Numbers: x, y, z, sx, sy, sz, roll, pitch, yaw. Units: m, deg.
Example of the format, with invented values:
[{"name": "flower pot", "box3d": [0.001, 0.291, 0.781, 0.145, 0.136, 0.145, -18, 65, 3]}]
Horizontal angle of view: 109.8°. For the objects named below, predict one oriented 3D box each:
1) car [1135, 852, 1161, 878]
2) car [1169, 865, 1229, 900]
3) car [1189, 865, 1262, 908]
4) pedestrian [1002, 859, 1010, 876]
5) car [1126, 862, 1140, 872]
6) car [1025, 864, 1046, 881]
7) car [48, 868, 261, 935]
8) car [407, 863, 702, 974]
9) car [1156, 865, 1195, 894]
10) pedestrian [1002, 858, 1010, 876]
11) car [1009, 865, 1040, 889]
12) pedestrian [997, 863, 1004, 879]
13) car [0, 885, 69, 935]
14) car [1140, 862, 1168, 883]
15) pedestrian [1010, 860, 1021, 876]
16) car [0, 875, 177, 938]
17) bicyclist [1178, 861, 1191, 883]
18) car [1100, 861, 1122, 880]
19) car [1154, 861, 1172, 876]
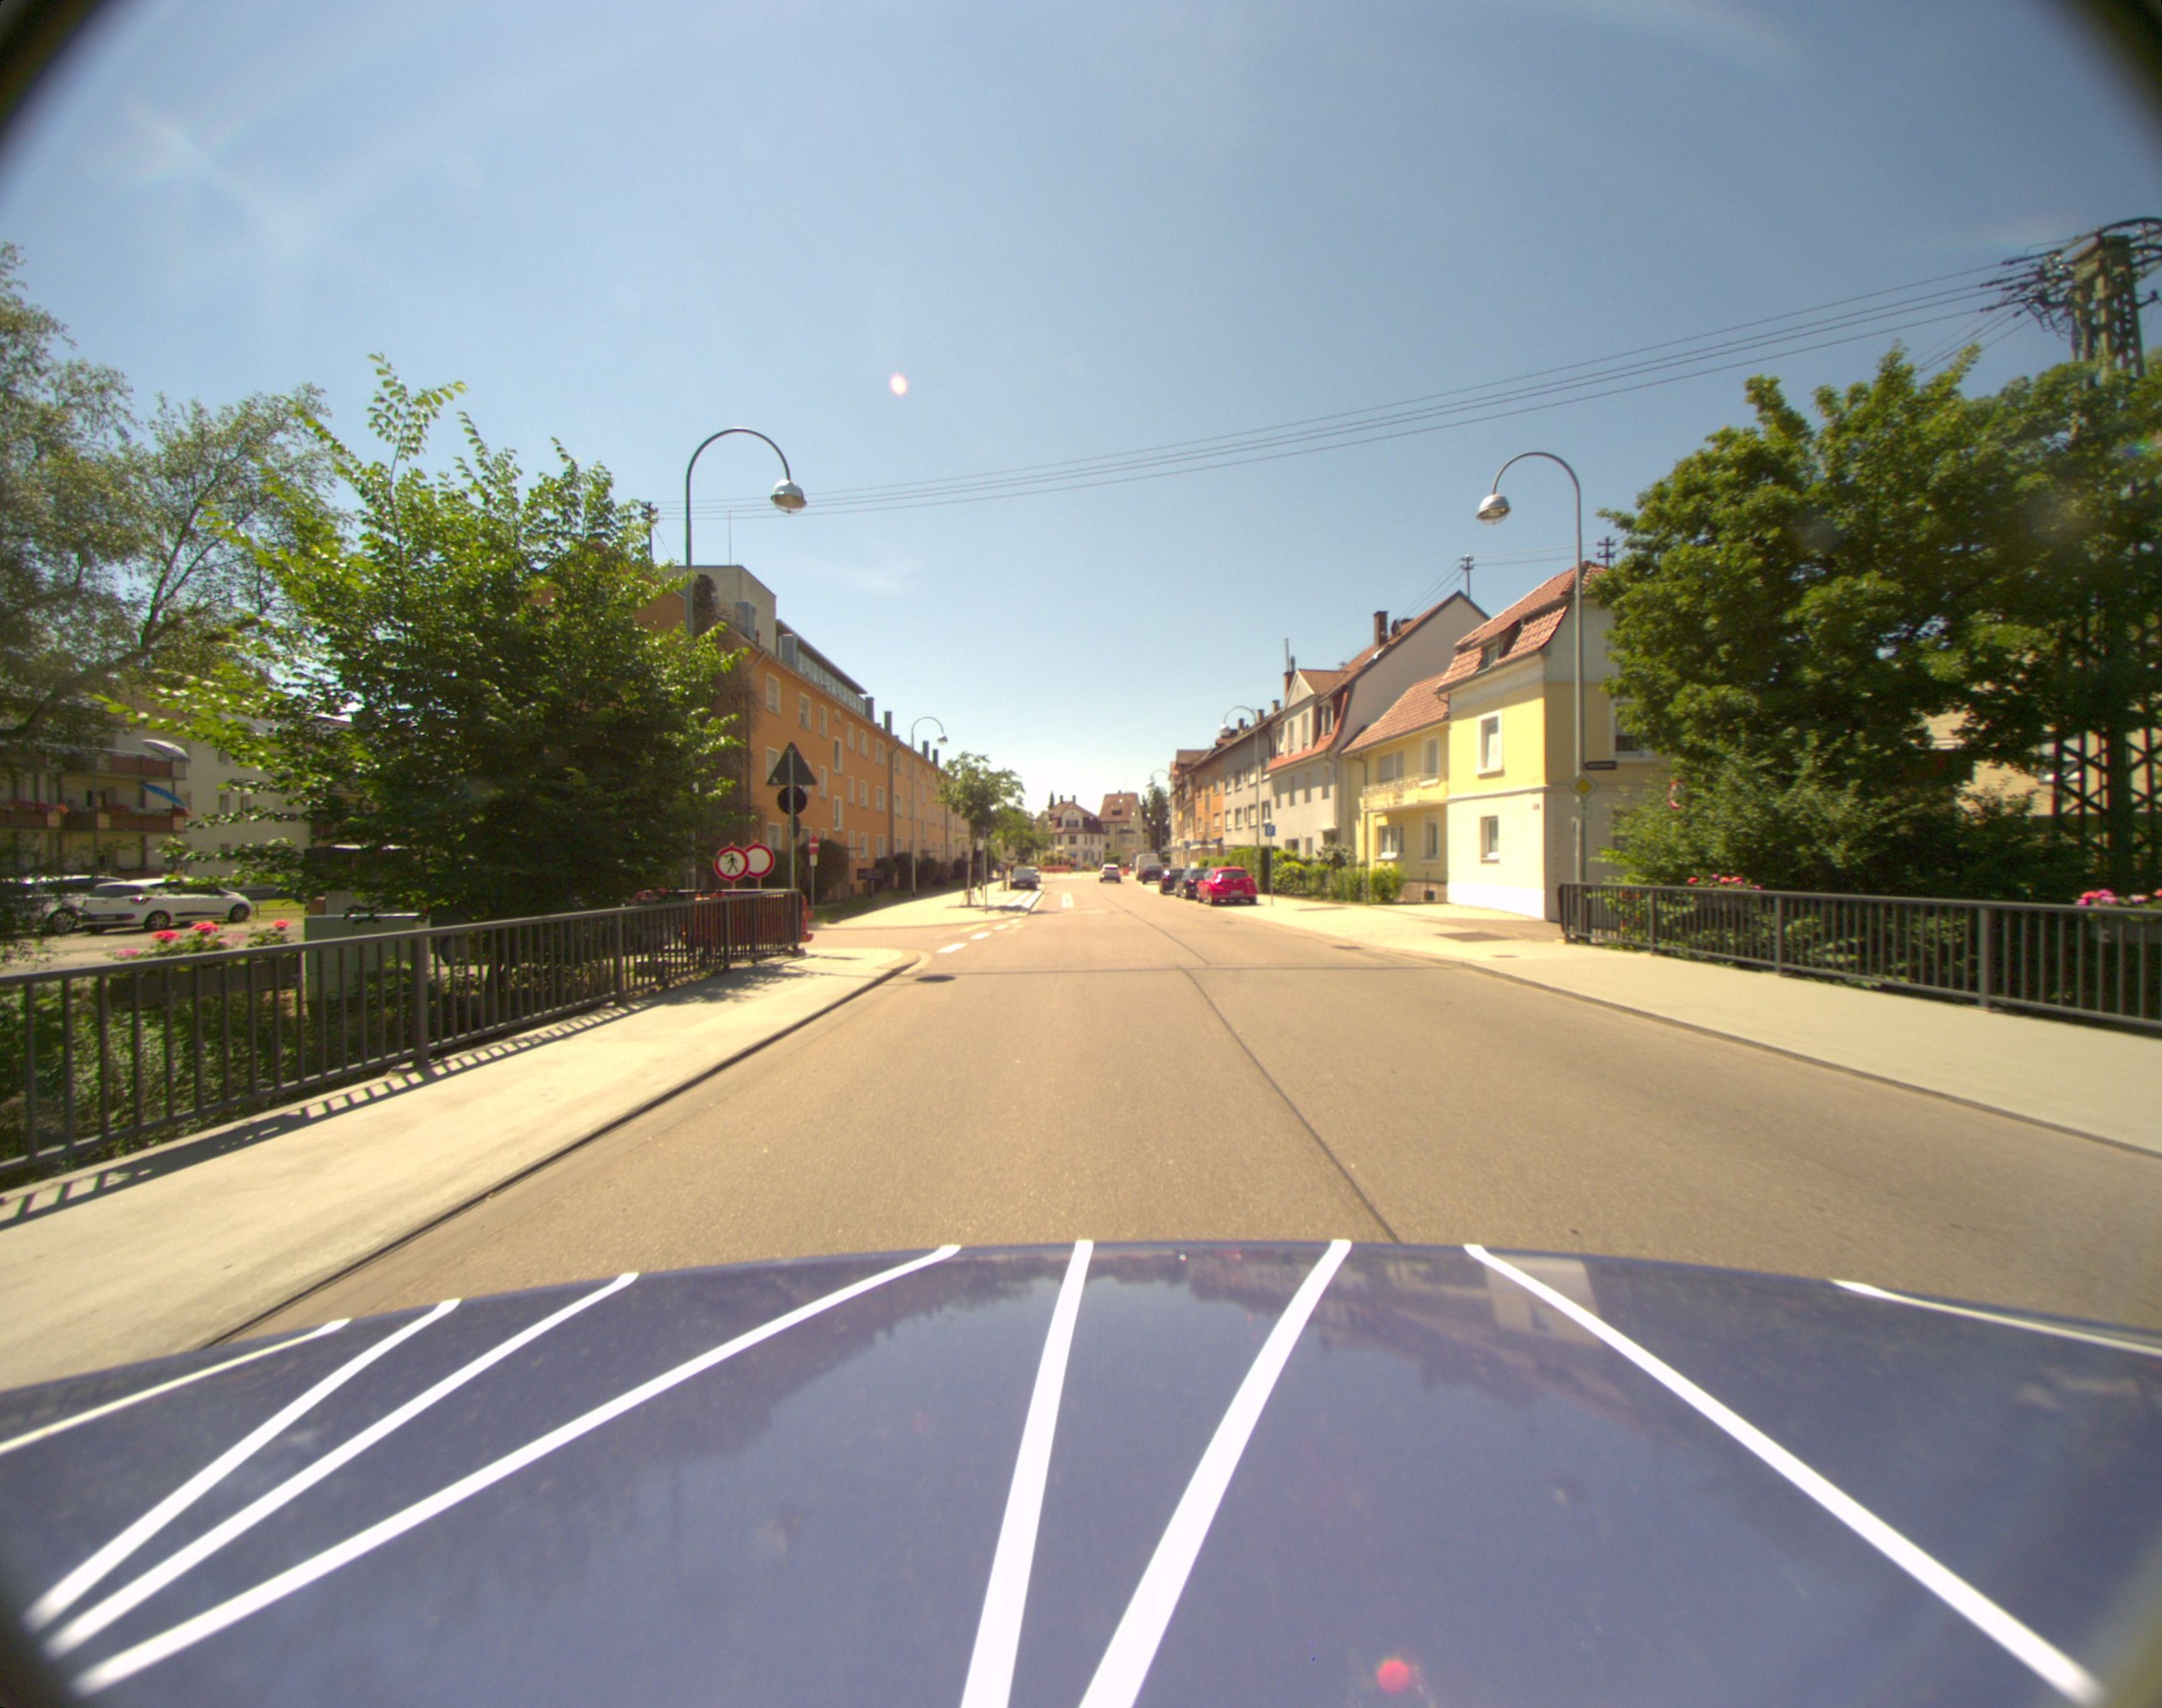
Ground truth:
[{"name": "car", "box3d": [6.555, 1.050, 74.517, 2.124, 2.435, 6.118, -2, 0, 2]}, {"name": "car", "box3d": [5.551, 1.314, 36.528, 1.868, 1.453, 5.307, -2, -1, -2]}, {"name": "car", "box3d": [5.732, 1.246, 30.726, 1.882, 1.471, 4.737, -3, 0, -1]}, {"name": "pedestrian", "box3d": [-8.262, 1.473, 83.270, 0.790, 1.800, 1.005, 2, 0, -5]}, {"name": "car", "box3d": [8.580, 2.132, 126.393, 1.800, 1.481, 4.388, -2, 1, -3]}, {"name": "car", "box3d": [-4.199, 1.675, 69.484, 1.818, 1.468, 4.504, 1, 0, -5]}, {"name": "car", "box3d": [-27.706, 1.340, 22.967, 2.001, 1.773, 3.996, -1, 0, -12]}, {"name": "car", "box3d": [-10.103, 1.183, 14.914, 4.352, 1.828, 1.748, -2, 1, -9]}, {"name": "car", "box3d": [5.232, 1.405, 42.631, 1.792, 1.450, 4.199, -3, -1, 3]}, {"name": "pedestrian", "box3d": [-7.930, 1.361, 80.152, 0.823, 1.842, 0.984, 0, 0, -5]}, {"name": "car", "box3d": [-3.882, 1.559, 52.716, 1.838, 1.495, 5.063, 1, 0, -1]}, {"name": "pedestrian", "box3d": [-8.838, 1.881, 83.663, 0.796, 1.768, 1.008, 0, 0, -5]}, {"name": "car", "box3d": [-32.496, 1.670, 22.017, 1.620, 1.412, 3.916, -1, 0, -12]}, {"name": "car", "box3d": [6.147, 1.493, 63.369, 2.089, 1.605, 5.112, -2, -1, 8]}, {"name": "pedestrian", "box3d": [-7.222, 1.521, 83.534, 1.175, 1.723, 1.190, 2, 1, -6]}, {"name": "car", "box3d": [-29.817, 1.479, 22.397, 2.001, 1.620, 3.996, -1, 0, -12]}, {"name": "bicyclist", "box3d": [7.766, 1.324, 56.922, 0.784, 1.649, 0.835, 0, 0, -3]}, {"name": "car", "box3d": [2.629, 1.453, 67.996, 1.882, 1.587, 4.360, 1, 0, 1]}, {"name": "car", "box3d": [9.099, 1.586, 84.393, 1.798, 1.532, 4.116, -2, 0, 3]}]
